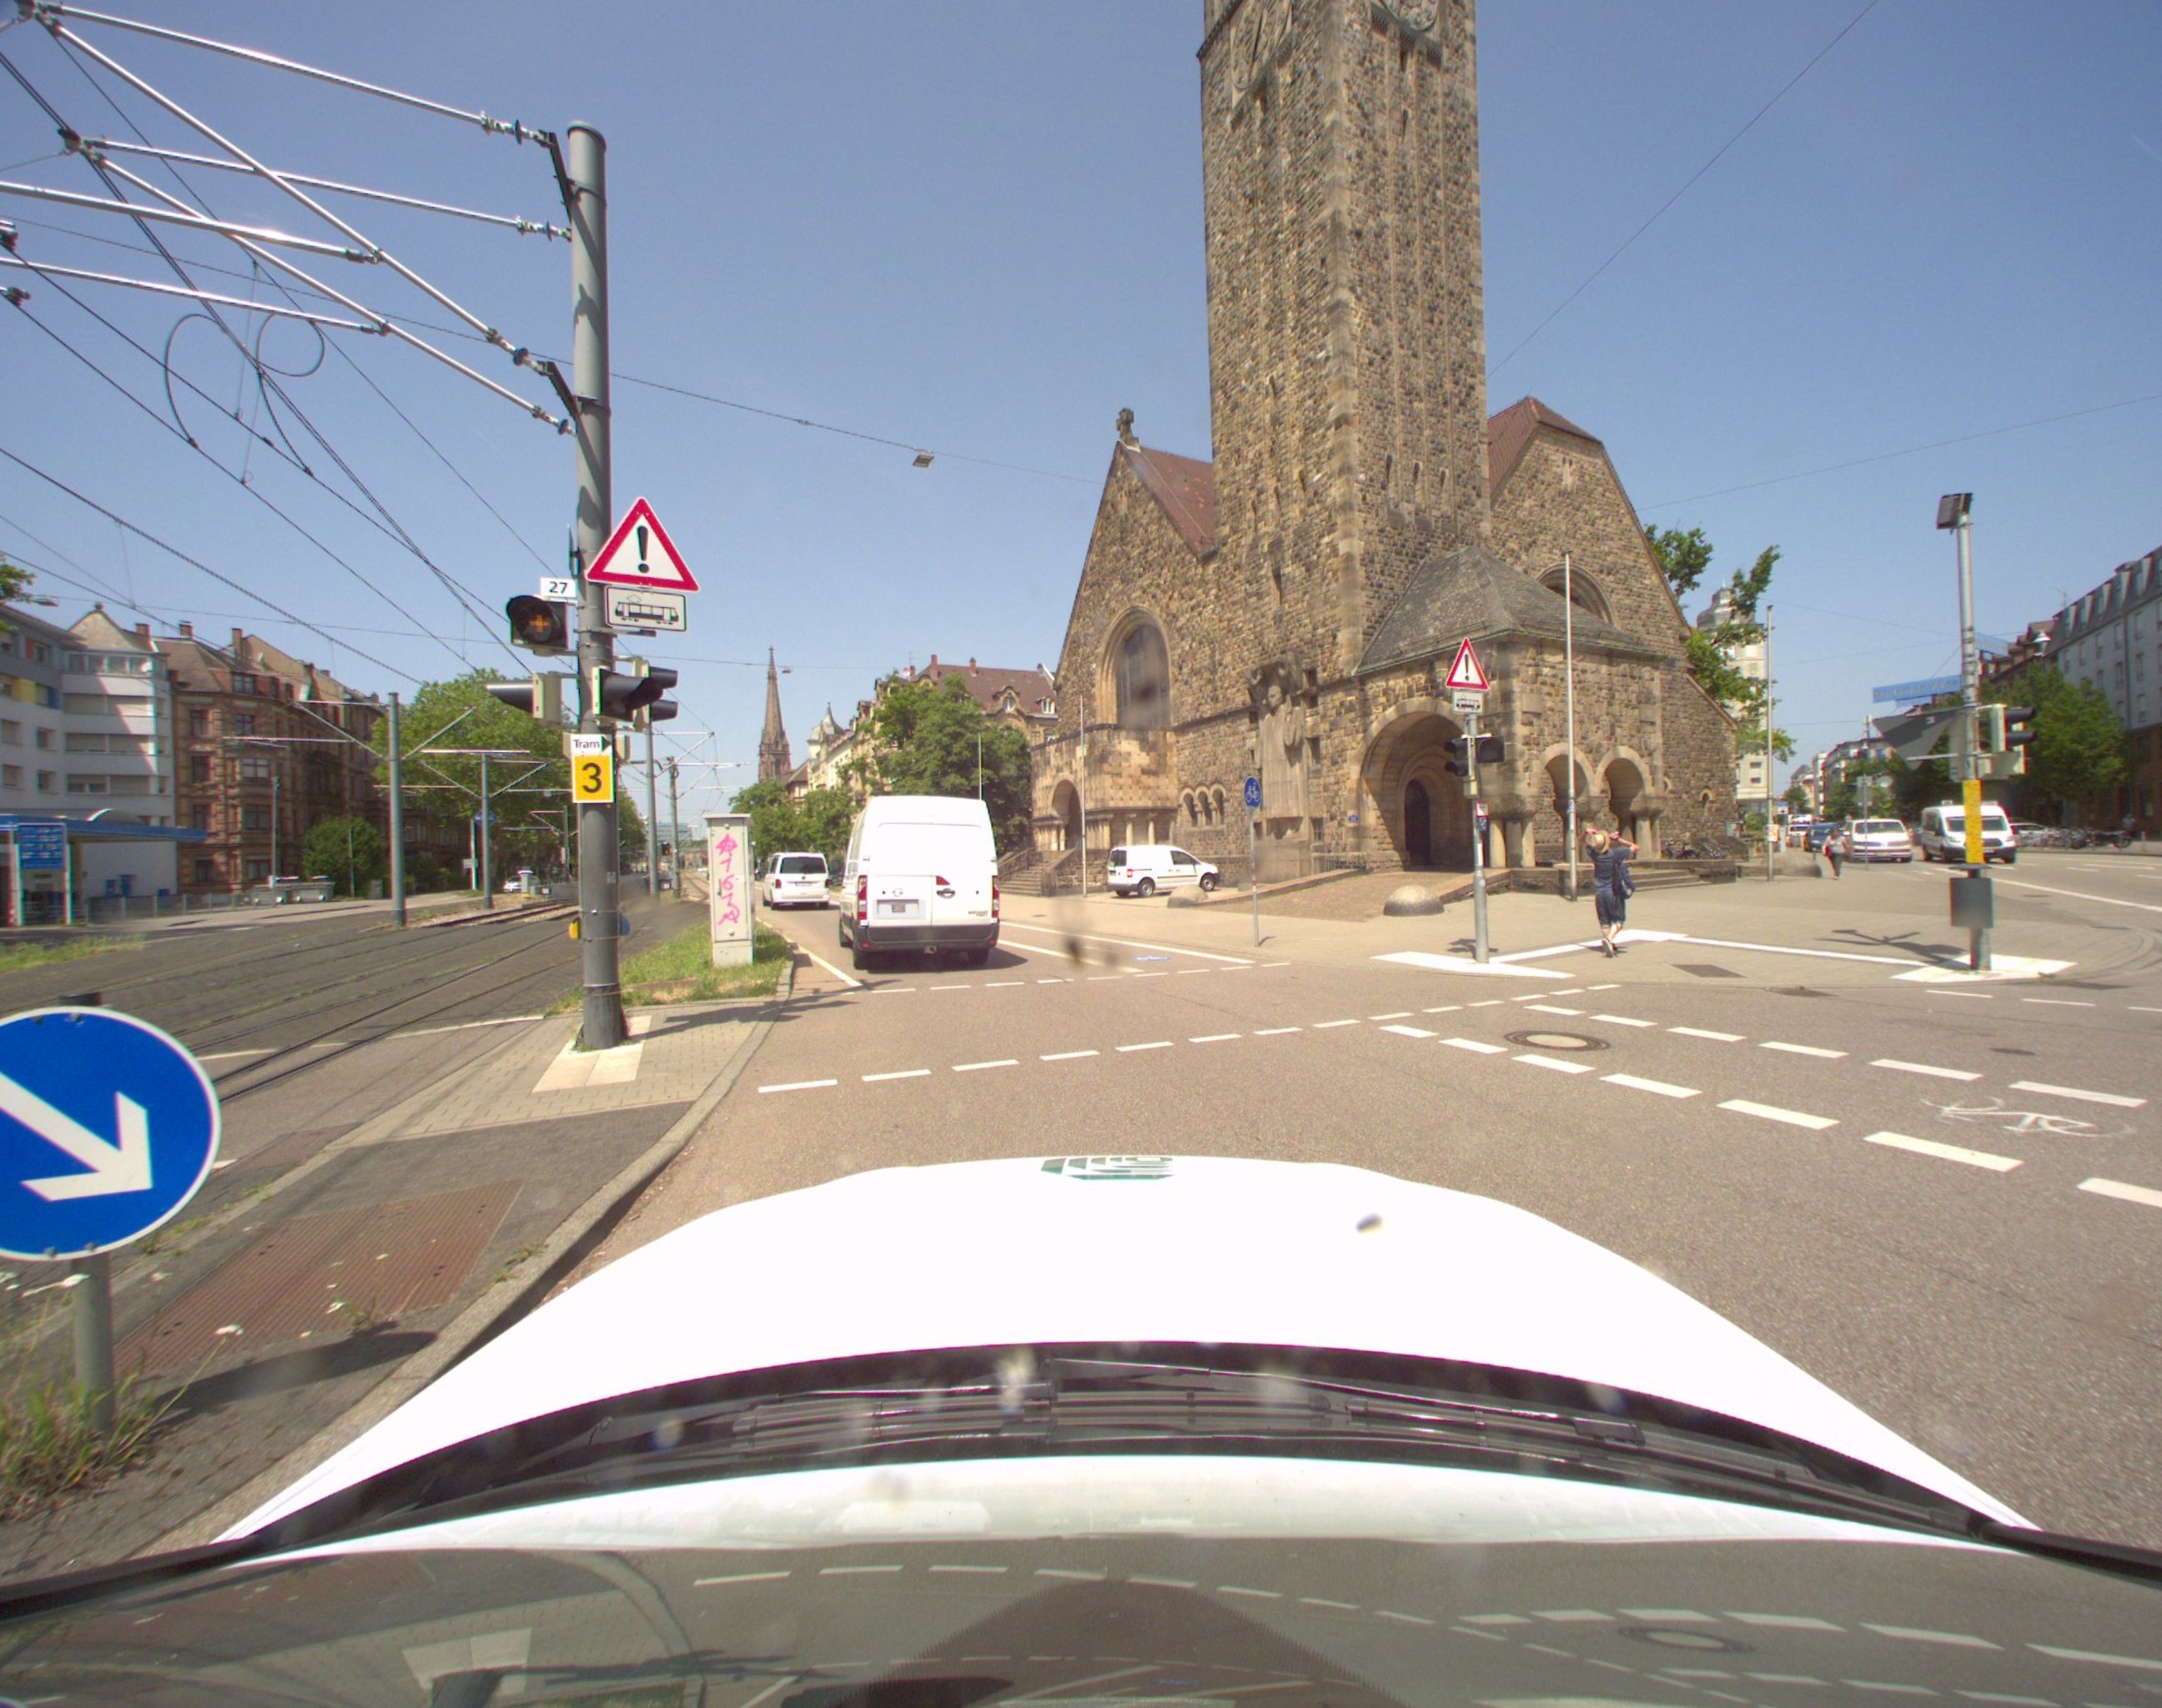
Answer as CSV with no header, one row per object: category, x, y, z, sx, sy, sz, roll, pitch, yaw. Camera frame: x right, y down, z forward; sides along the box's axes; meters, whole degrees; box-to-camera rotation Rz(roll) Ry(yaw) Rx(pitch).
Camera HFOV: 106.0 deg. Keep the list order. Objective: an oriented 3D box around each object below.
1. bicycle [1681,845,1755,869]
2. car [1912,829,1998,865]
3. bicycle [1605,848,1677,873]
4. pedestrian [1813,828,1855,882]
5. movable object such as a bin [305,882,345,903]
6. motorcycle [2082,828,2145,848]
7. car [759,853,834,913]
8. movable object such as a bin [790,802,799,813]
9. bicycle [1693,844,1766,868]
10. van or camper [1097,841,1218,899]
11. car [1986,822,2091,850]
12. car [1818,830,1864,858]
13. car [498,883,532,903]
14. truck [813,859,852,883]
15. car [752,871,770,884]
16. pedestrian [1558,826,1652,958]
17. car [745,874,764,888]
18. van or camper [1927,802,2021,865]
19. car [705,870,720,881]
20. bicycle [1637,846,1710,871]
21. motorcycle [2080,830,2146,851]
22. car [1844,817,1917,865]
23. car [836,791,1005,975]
bicycle,27.712,0.131,35.504,0.707,1.011,2.478,-2,0,-25
car,37.537,-0.315,35.098,1.974,1.457,4.025,-2,0,39
bicycle,23.493,0.275,34.214,0.707,1.011,2.478,-2,0,-25
pedestrian,22.535,0.033,24.375,0.795,1.559,0.713,-1,-1,-33
movable object such as a bin,-55.940,2.836,60.293,1.793,1.385,1.456,-2,0,-29
motorcycle,55.409,-0.869,43.725,0.610,0.958,2.055,-4,1,-34
car,-10.261,0.995,29.191,1.927,1.944,4.225,-1,-1,-28
movable object such as a bin,-27.347,-4.456,77.844,0.790,1.014,0.645,-1,-1,-21
bicycle,28.658,0.086,36.039,0.707,1.011,2.478,-2,0,-25
van or camper,2.803,0.562,29.825,4.011,1.825,1.786,-3,0,-28
car,59.917,-1.110,51.045,3.957,1.549,1.757,-1,-1,15
car,49.632,-0.642,53.188,4.023,1.728,1.975,-1,-1,-44
car,-52.581,3.619,75.734,1.857,1.625,4.563,-3,0,-26
truck,-16.854,1.154,55.074,1.799,1.526,4.426,-1,-1,-26
car,-39.184,2.841,99.660,1.759,1.578,3.725,-1,-1,-27
pedestrian,7.570,0.530,11.787,0.745,1.822,0.828,-1,-1,-19
car,-38.058,3.122,94.930,1.759,1.578,3.725,-1,-1,-27
van or camper,38.188,-0.869,34.982,2.047,2.461,5.939,-2,0,41
car,-51.960,3.057,114.821,1.759,1.539,3.725,-1,-1,-27
bicycle,25.335,0.212,34.877,0.707,1.011,2.478,-2,0,-25
motorcycle,53.629,-0.699,42.353,0.746,0.958,2.055,-4,1,-34
car,36.391,-0.598,37.184,2.019,2.004,4.999,-2,0,41
car,-2.900,0.435,13.682,2.123,2.459,5.021,0,-1,-19
